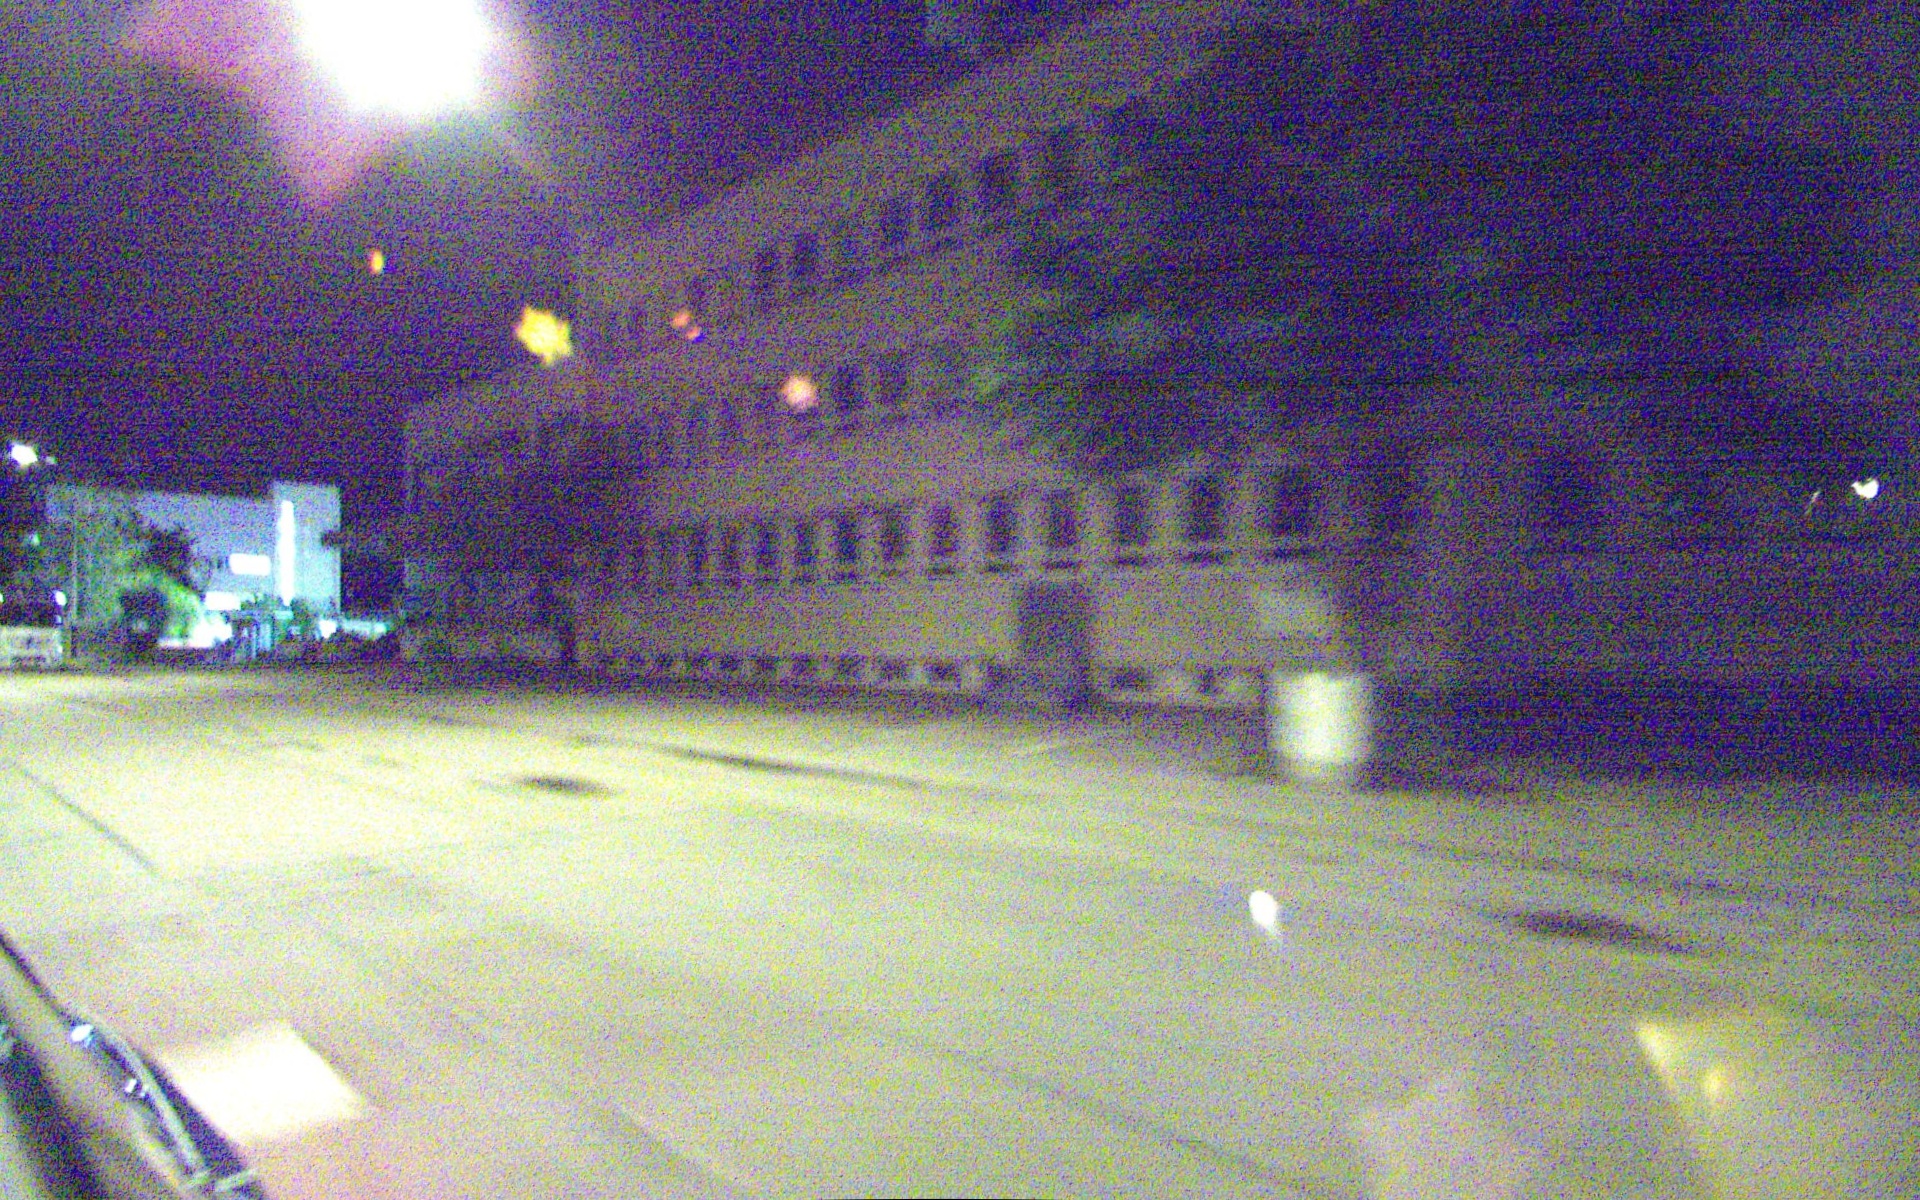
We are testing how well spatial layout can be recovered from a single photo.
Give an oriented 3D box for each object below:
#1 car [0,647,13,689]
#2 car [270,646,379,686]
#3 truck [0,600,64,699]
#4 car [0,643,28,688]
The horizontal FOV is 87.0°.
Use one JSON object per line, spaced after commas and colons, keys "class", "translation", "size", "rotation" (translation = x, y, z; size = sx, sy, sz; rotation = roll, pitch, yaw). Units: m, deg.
{"class": "car", "translation": [-59.068, 4.108, 61.184], "size": [5.740, 2.462, 1.973], "rotation": [-2, -1, 40]}
{"class": "car", "translation": [-30.089, 3.095, 48.008], "size": [1.804, 1.474, 3.949], "rotation": [-2, 2, 38]}
{"class": "truck", "translation": [-46.403, 2.303, 49.646], "size": [12.827, 4.347, 2.608], "rotation": [-1, -3, 44]}
{"class": "car", "translation": [-53.060, 3.596, 55.794], "size": [4.468, 2.330, 2.116], "rotation": [-2, -1, 43]}
